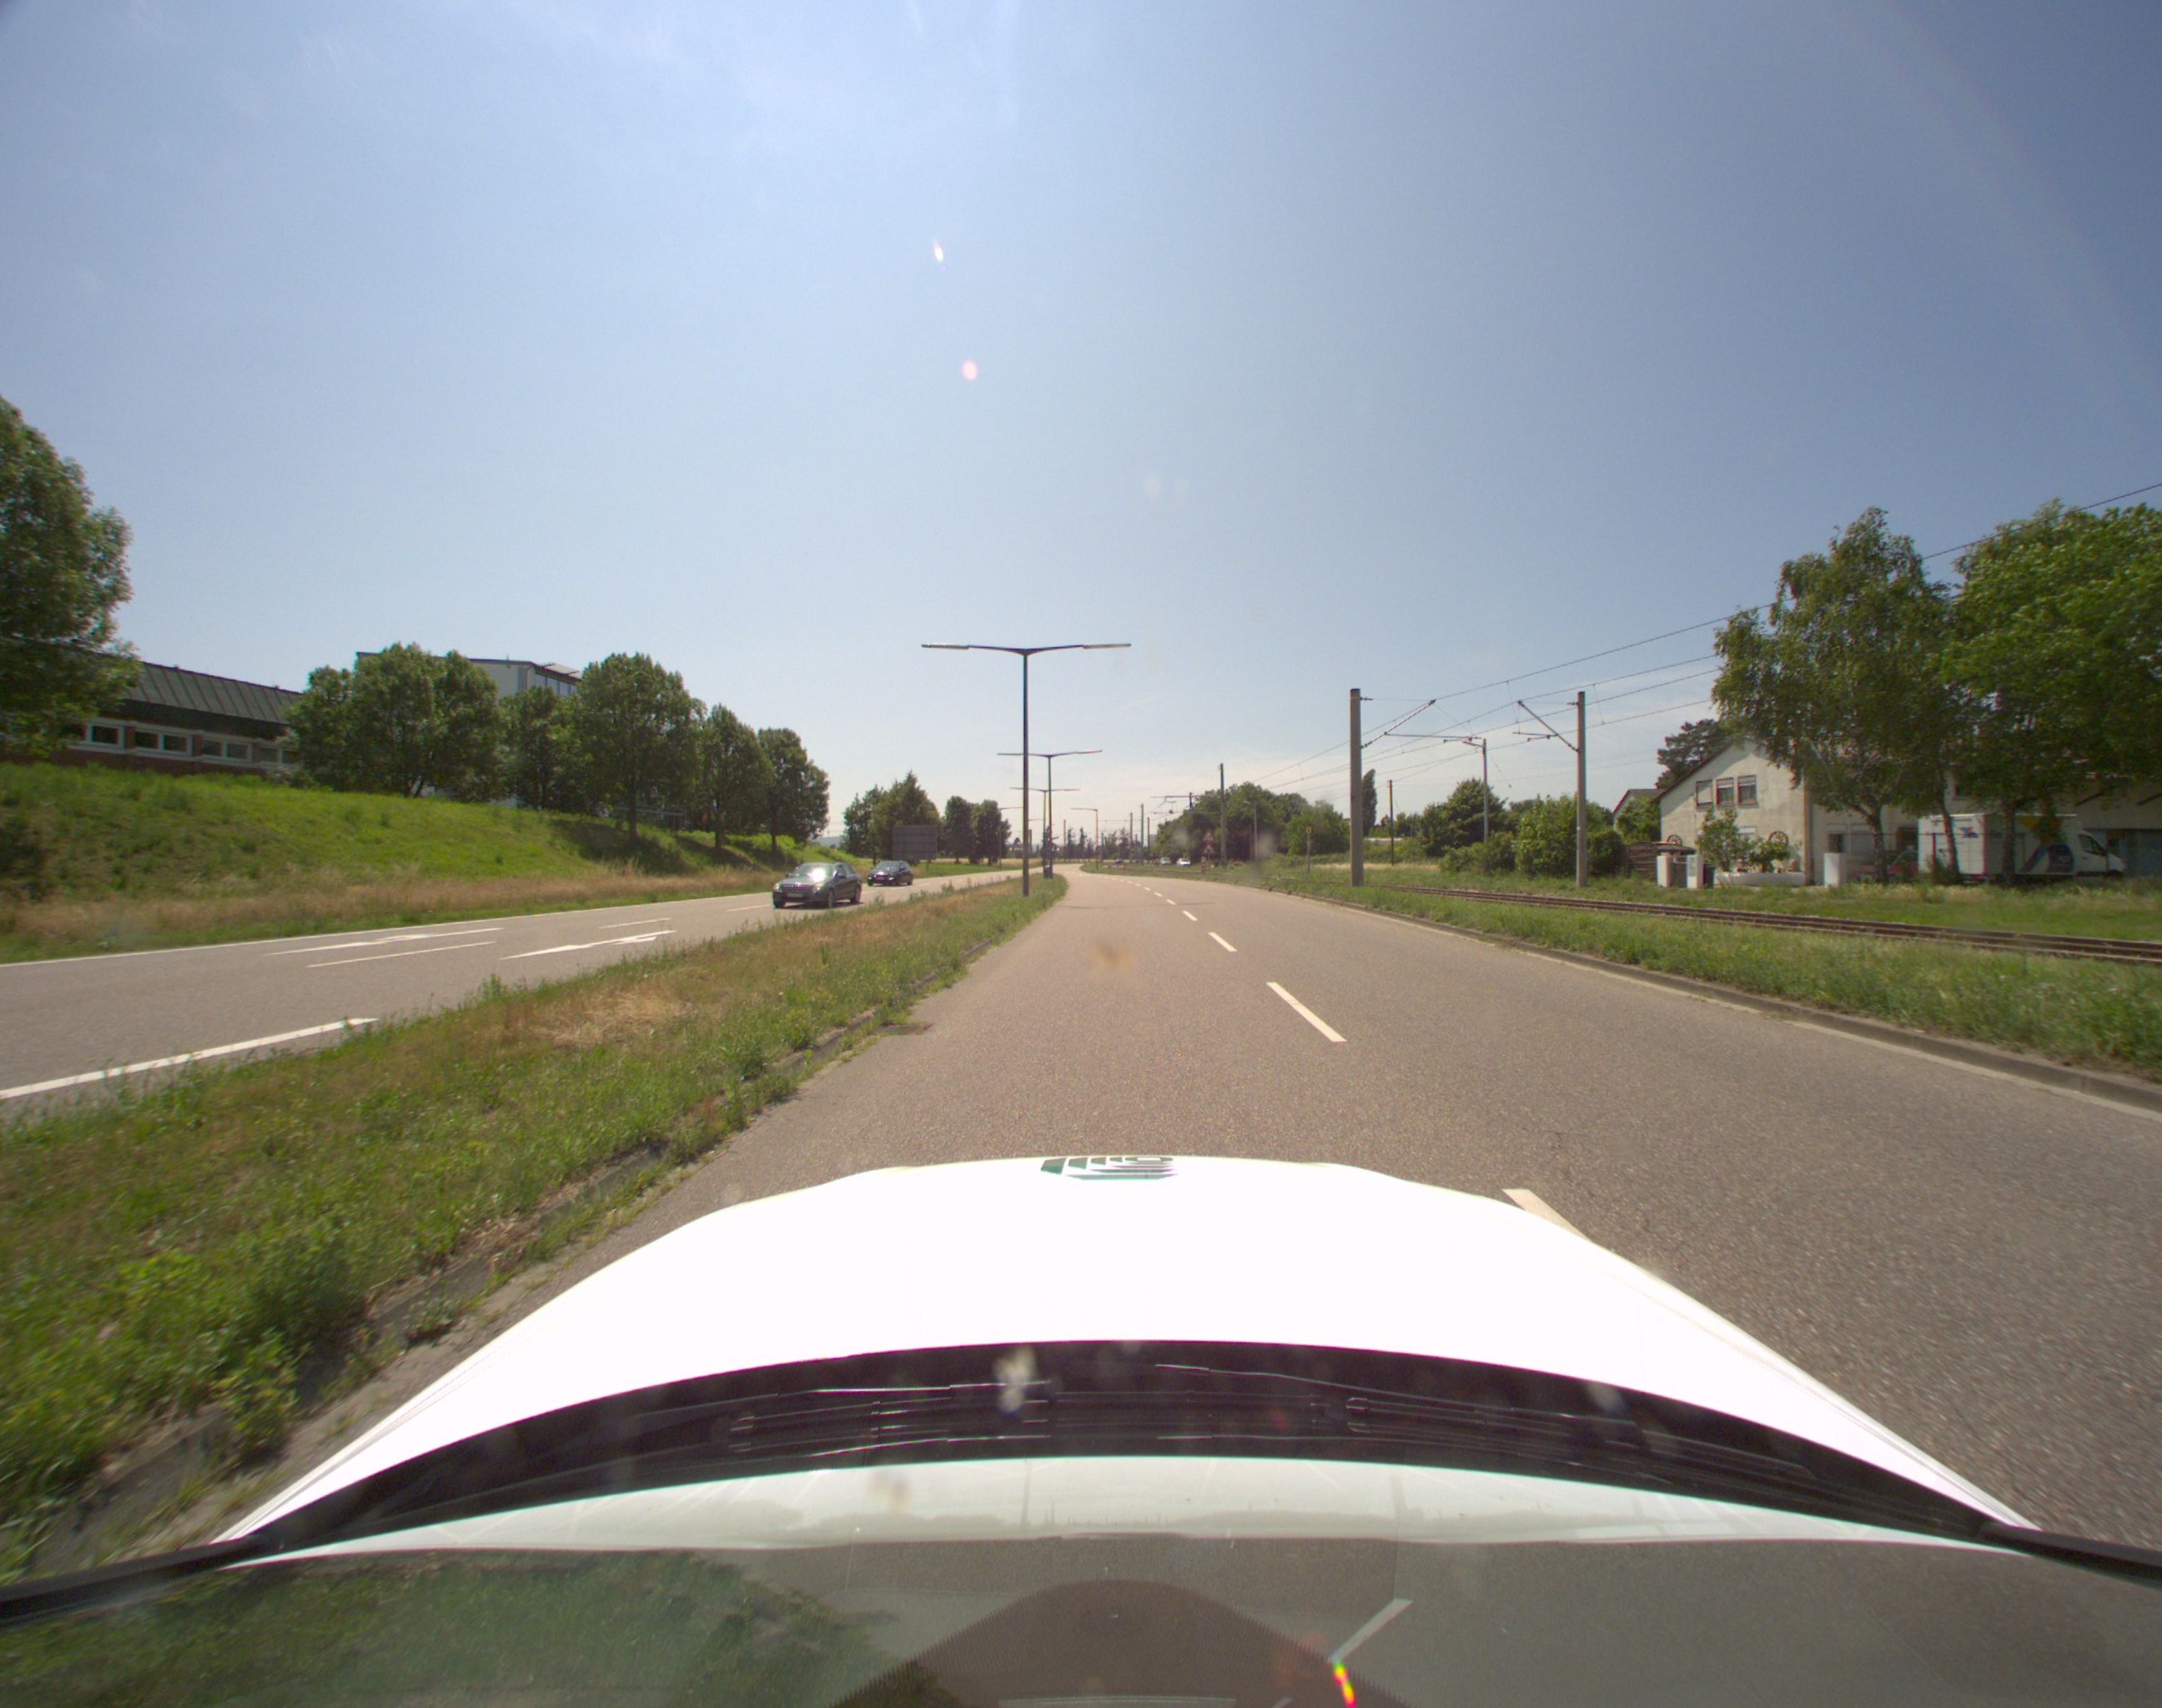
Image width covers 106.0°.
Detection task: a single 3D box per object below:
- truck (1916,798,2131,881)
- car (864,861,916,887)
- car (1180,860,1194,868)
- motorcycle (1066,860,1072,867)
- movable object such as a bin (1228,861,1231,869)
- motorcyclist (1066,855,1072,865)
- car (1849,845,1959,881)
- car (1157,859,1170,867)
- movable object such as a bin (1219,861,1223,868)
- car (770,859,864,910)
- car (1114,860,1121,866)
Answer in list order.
[{"bbox_3d":[34.913,-0.506,30.269,5.834,2.843,2.315,-1,-1,-7],"label":"truck"},{"bbox_3d":[-10.921,1.112,46.872,1.988,1.360,4.663,0,0,-1],"label":"car"},{"bbox_3d":[16.019,1.442,123.320,1.560,1.179,3.074,-1,0,-5],"label":"car"},{"bbox_3d":[-2.954,2.344,201.228,0.985,1.581,3.404,1,-1,4],"label":"motorcycle"},{"bbox_3d":[21.392,1.564,117.299,0.522,1.050,0.500,-1,-1,8],"label":"movable object such as a bin"},{"bbox_3d":[-2.916,1.533,201.531,1.225,2.351,1.107,1,-1,4],"label":"motorcyclist"},{"bbox_3d":[35.739,0.365,35.415,3.432,1.510,1.678,0,-1,-9],"label":"car"},{"bbox_3d":[14.905,1.696,146.956,1.668,1.397,3.646,1,-1,-3],"label":"car"},{"bbox_3d":[20.144,1.540,117.500,0.522,1.050,0.500,-1,-1,8],"label":"movable object such as a bin"},{"bbox_3d":[-8.602,0.949,26.883,1.686,1.492,4.000,1,0,1],"label":"car"},{"bbox_3d":[11.145,2.846,248.188,1.393,1.772,3.266,1,-1,14],"label":"car"}]
